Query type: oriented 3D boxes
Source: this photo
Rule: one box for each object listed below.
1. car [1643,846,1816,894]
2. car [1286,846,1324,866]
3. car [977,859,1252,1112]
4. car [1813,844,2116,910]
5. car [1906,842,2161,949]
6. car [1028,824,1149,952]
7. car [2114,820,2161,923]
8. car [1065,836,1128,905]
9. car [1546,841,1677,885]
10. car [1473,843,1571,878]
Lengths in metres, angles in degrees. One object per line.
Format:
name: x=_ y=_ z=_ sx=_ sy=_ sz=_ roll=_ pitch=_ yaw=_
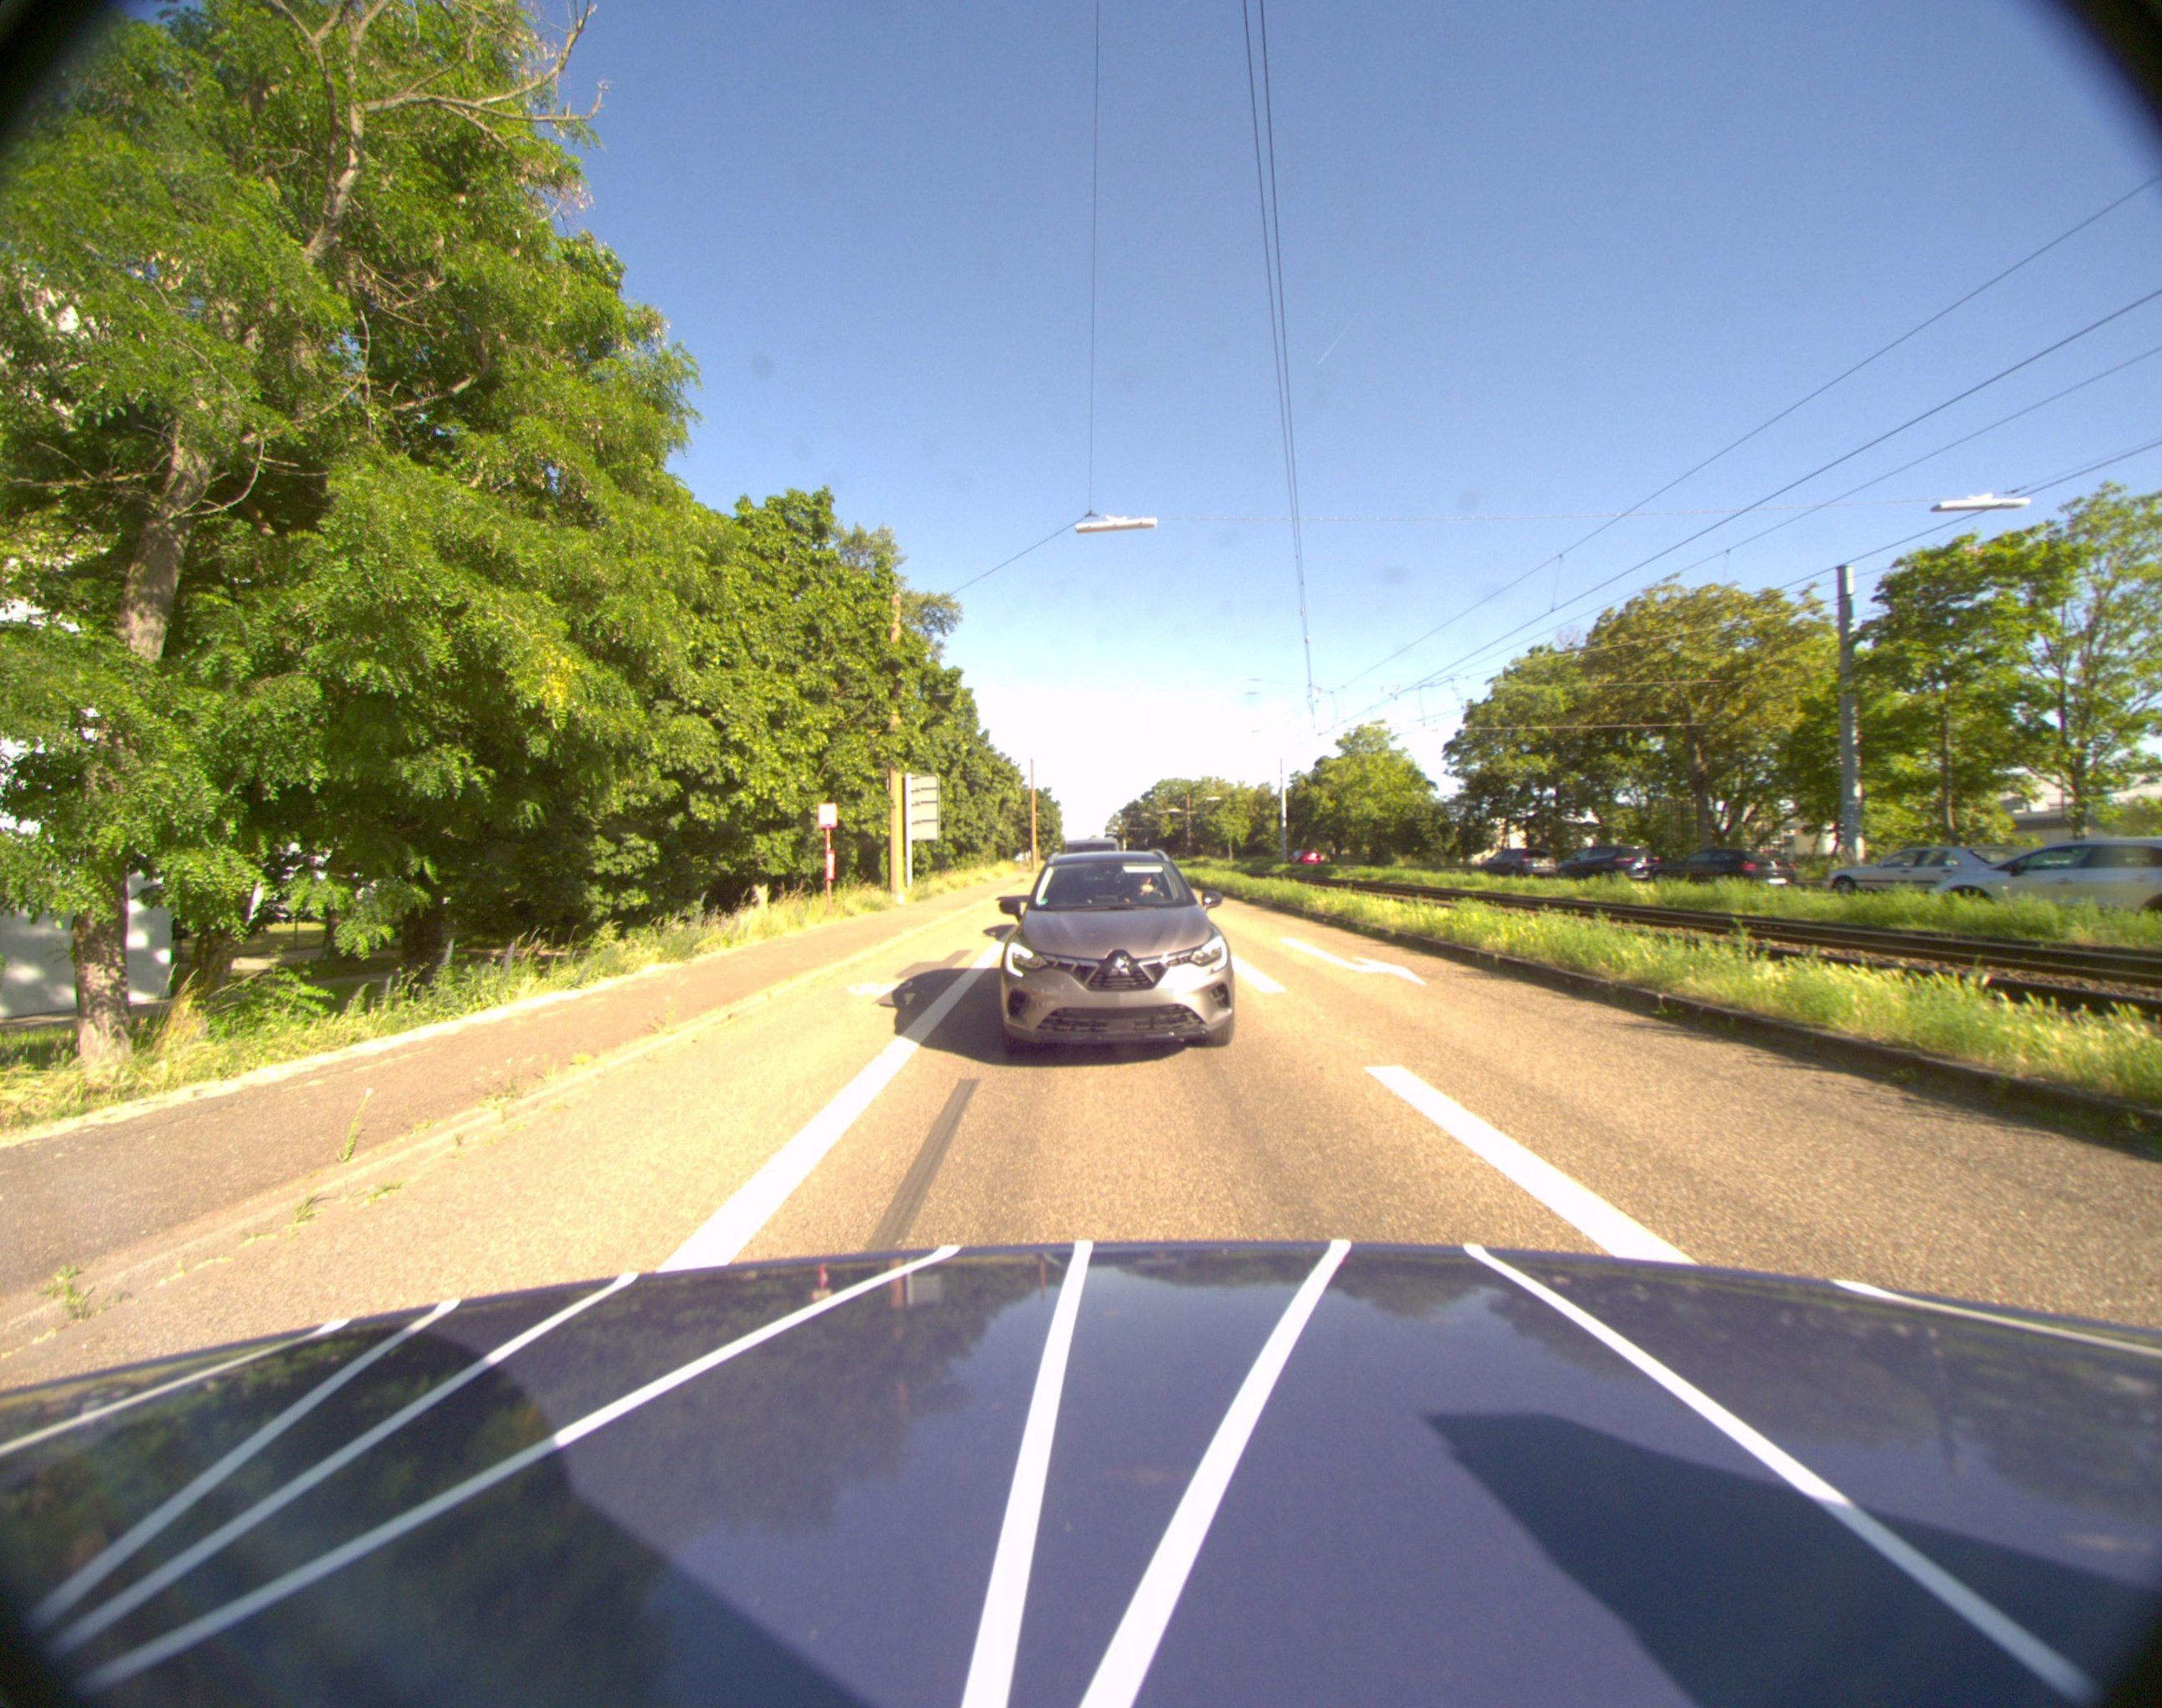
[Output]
car: x=21.350 y=0.493 z=25.323 sx=1.960 sy=1.417 sz=4.488 roll=-2 pitch=0 yaw=1
car: x=21.010 y=0.192 z=71.461 sx=2.321 sy=1.723 sz=4.798 roll=-2 pitch=0 yaw=3
car: x=0.184 y=0.885 z=7.314 sx=1.796 sy=1.583 sz=4.529 roll=-1 pitch=0 yaw=-1
car: x=21.549 y=0.509 z=18.929 sx=2.130 sy=1.372 sz=4.616 roll=-2 pitch=0 yaw=-1
car: x=16.773 y=0.610 z=12.447 sx=1.860 sy=1.548 sz=4.155 roll=-2 pitch=0 yaw=-3
car: x=0.158 y=0.585 z=14.890 sx=1.998 sy=2.113 sz=4.000 roll=-2 pitch=0 yaw=1
car: x=21.247 y=0.283 z=12.483 sx=2.207 sy=1.923 sz=4.685 roll=-2 pitch=0 yaw=2
car: x=0.458 y=0.579 z=27.055 sx=1.999 sy=2.198 sz=4.786 roll=-1 pitch=-1 yaw=-1
car: x=21.312 y=0.346 z=30.820 sx=2.130 sy=1.578 sz=4.616 roll=-2 pitch=0 yaw=1
car: x=21.571 y=0.331 z=37.402 sx=2.130 sy=1.554 sz=4.560 roll=-2 pitch=0 yaw=0
